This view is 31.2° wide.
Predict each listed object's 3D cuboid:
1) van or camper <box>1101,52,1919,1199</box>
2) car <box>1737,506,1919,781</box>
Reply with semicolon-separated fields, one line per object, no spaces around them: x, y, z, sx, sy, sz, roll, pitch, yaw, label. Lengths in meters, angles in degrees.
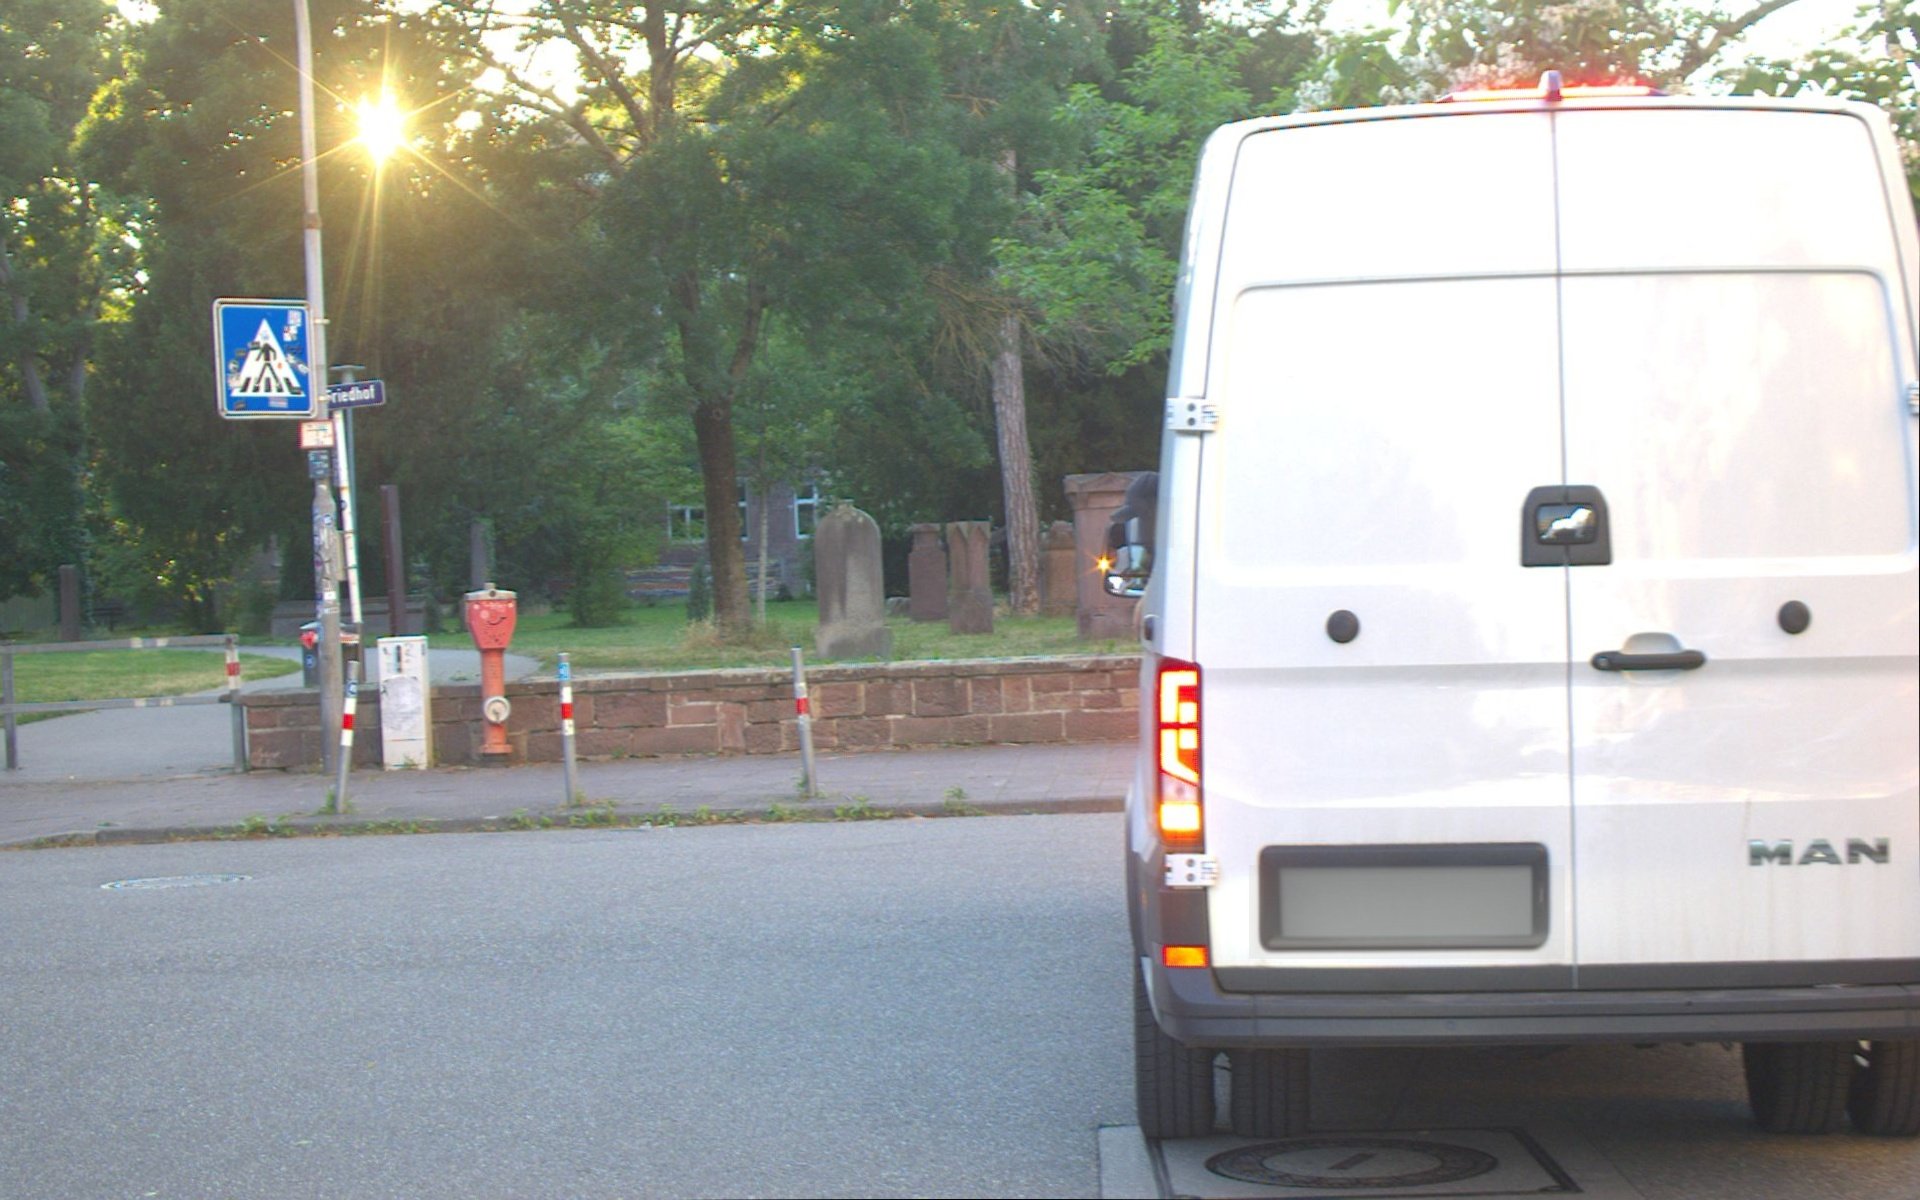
1.466;0.098;10.670;1.994;2.609;6.402;1;1;2;van or camper
6.864;0.191;20.775;3.854;1.568;1.958;-1;1;0;car
